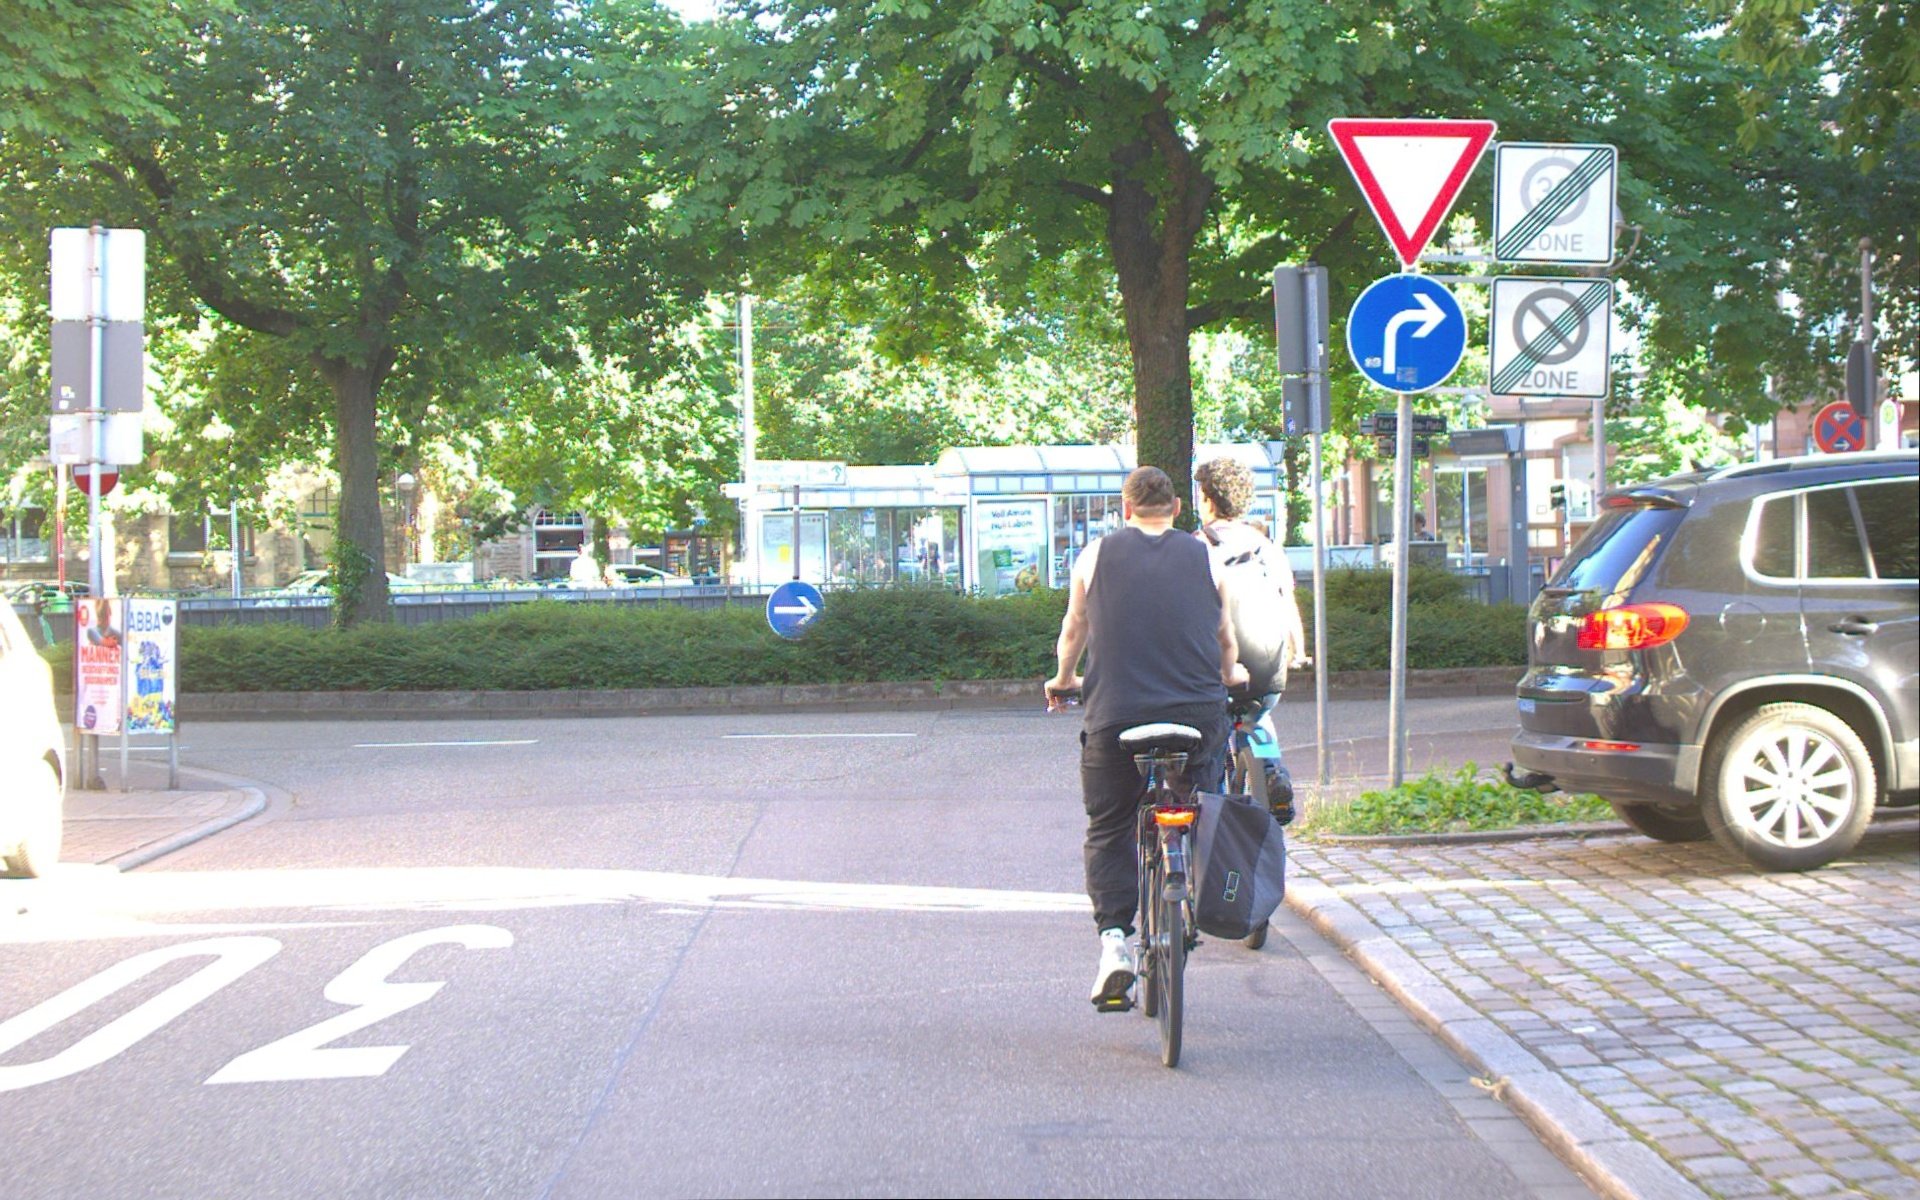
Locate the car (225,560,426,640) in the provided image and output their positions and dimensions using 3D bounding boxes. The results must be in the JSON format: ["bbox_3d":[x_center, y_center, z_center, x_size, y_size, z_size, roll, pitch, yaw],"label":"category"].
[{"bbox_3d":[-14.101,-0.016,76.521,3.938,1.673,1.953,-2,1,-44],"label":"car"}]

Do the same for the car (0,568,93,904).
[{"bbox_3d":[-5.112,0.603,15.035,1.705,1.480,3.797,1,1,-1],"label":"car"}]

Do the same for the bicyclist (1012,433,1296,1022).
[{"bbox_3d":[0.565,0.361,10.328,0.752,1.676,0.913,-1,1,-1],"label":"bicyclist"}]

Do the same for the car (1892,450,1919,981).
[{"bbox_3d":[4.782,0.335,9.999,3.693,1.645,1.704,-1,1,3],"label":"car"}]

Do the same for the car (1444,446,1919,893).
[{"bbox_3d":[4.353,0.189,14.733,4.105,1.707,2.024,-2,2,-5],"label":"car"}]

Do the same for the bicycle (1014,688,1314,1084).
[{"bbox_3d":[0.573,0.807,10.411,0.737,1.008,2.061,1,0,-1],"label":"bicycle"}]

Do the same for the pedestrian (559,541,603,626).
[{"bbox_3d":[-7.608,-0.333,68.982,0.701,1.689,0.671,1,1,-22],"label":"pedestrian"}]

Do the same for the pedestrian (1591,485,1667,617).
[{"bbox_3d":[8.663,-0.640,44.550,0.916,1.678,0.780,-1,1,9],"label":"pedestrian"}]

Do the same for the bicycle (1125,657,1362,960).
[{"bbox_3d":[1.057,0.756,13.251,0.674,1.050,2.061,-1,-1,-1],"label":"bicycle"}]

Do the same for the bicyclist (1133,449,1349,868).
[{"bbox_3d":[1.051,0.214,13.062,0.671,1.509,1.069,-1,0,-1],"label":"bicyclist"}]

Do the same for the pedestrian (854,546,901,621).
[{"bbox_3d":[-1.725,-0.344,71.579,0.809,1.538,0.821,1,1,-12],"label":"pedestrian"}]

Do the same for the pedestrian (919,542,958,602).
[{"bbox_3d":[-0.595,-0.764,93.951,1.000,1.625,1.064,-1,1,-2],"label":"pedestrian"}]

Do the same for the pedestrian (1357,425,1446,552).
[{"bbox_3d":[5.943,-1.499,46.268,0.898,1.678,0.818,-1,1,33],"label":"pedestrian"}]

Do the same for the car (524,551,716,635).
[{"bbox_3d":[-7.981,-0.181,80.709,3.986,1.864,2.000,-2,1,-26],"label":"car"}]
